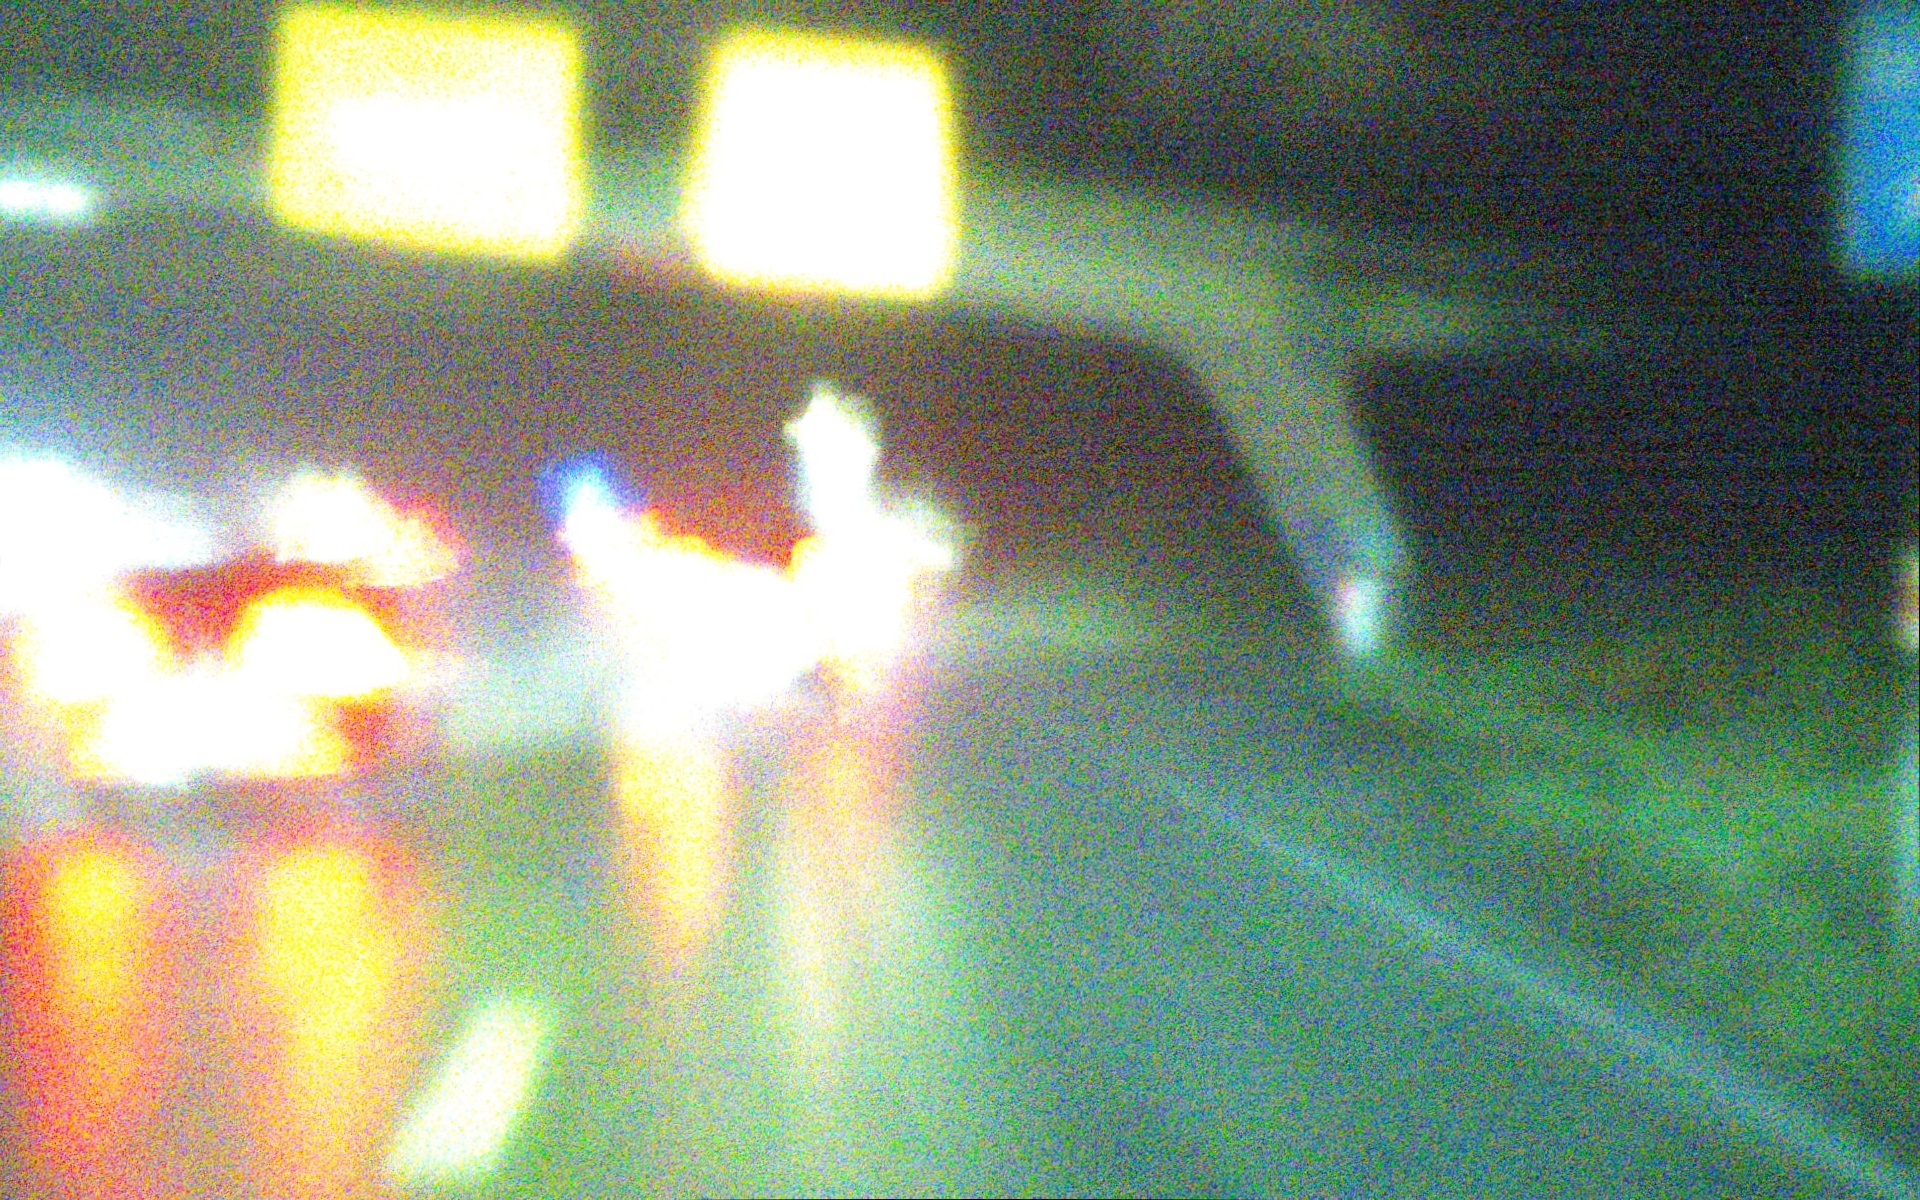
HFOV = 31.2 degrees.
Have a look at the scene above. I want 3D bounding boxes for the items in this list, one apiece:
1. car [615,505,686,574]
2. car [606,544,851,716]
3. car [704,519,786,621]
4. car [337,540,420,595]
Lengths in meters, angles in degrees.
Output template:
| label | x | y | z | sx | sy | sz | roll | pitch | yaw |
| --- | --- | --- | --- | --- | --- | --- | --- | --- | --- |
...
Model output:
| label | x | y | z | sx | sy | sz | roll | pitch | yaw |
| --- | --- | --- | --- | --- | --- | --- | --- | --- | --- |
| car | -9.565 | -1.855 | 106.347 | 1.993 | 2.007 | 4.000 | 1 | 0 | -3 |
| car | -2.009 | 0.255 | 30.918 | 1.962 | 1.376 | 4.049 | 2 | 0 | -1 |
| car | -4.427 | -0.634 | 71.189 | 1.553 | 2.007 | 4.000 | 2 | 1 | -2 |
| car | -17.089 | -0.944 | 101.208 | 1.895 | 1.539 | 4.000 | 1 | 0 | -3 |
